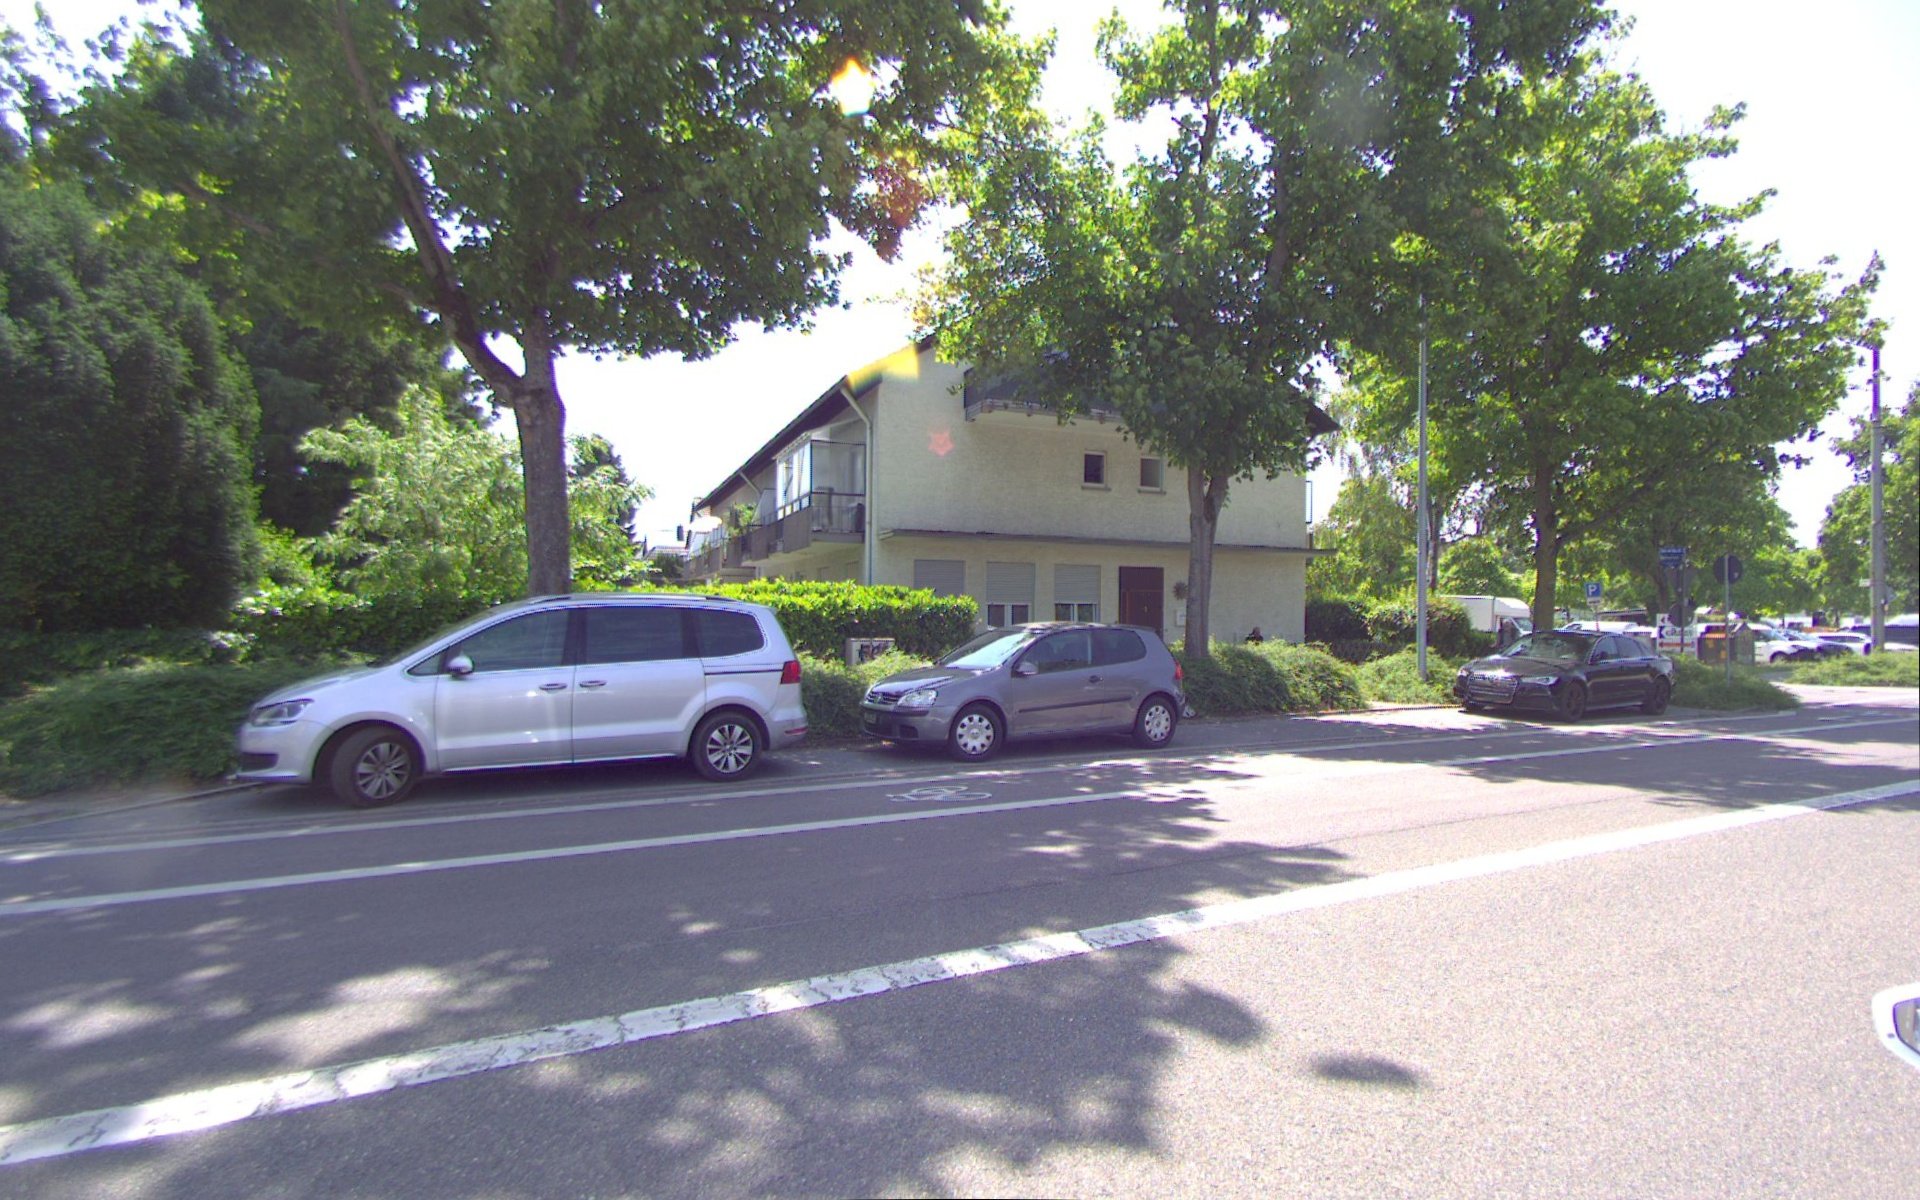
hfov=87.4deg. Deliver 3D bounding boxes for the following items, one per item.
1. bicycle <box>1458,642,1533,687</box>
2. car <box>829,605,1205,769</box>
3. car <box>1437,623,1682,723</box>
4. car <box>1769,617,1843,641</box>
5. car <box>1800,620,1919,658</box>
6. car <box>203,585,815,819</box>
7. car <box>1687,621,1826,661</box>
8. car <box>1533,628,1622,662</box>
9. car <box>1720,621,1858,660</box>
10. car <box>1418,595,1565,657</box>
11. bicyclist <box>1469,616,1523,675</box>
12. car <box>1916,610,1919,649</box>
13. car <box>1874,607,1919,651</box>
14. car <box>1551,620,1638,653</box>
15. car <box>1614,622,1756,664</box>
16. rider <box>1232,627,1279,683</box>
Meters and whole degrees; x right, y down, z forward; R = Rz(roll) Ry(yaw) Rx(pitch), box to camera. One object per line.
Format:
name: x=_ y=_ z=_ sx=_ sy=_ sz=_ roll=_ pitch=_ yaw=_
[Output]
bicycle: x=13.260 y=1.596 z=24.854 sx=1.805 sy=1.043 sz=0.698 roll=2 pitch=1 yaw=-27
car: x=0.722 y=0.907 z=11.859 sx=4.132 sy=1.585 sz=1.809 roll=1 pitch=1 yaw=-31
car: x=10.626 y=1.204 z=17.736 sx=4.397 sy=1.496 sz=1.809 roll=1 pitch=1 yaw=-31
car: x=66.405 y=2.288 z=78.891 sx=1.795 sy=1.638 sz=4.000 roll=2 pitch=1 yaw=-30
car: x=43.235 y=1.836 z=48.314 sx=1.975 sy=1.769 sz=3.968 roll=1 pitch=-1 yaw=-30
car: x=-3.893 y=0.761 z=9.275 sx=4.725 sy=1.687 sz=1.863 roll=1 pitch=0 yaw=-31
car: x=33.931 y=1.711 z=42.932 sx=1.886 sy=1.606 sz=4.332 roll=1 pitch=-1 yaw=-24
car: x=35.598 y=2.571 z=57.953 sx=1.799 sy=1.675 sz=3.957 roll=2 pitch=1 yaw=-37
car: x=36.413 y=1.759 z=44.251 sx=1.886 sy=1.606 sz=4.333 roll=1 pitch=-1 yaw=-23
car: x=28.828 y=1.322 z=54.824 sx=2.337 sy=3.005 sz=6.816 roll=2 pitch=1 yaw=-30
bicyclist: x=13.252 y=1.122 z=24.837 sx=0.817 sy=1.392 sz=0.806 roll=2 pitch=1 yaw=-27
car: x=58.928 y=1.836 z=57.871 sx=2.349 sy=2.274 sz=5.076 roll=2 pitch=1 yaw=-28
car: x=52.281 y=1.650 z=53.302 sx=2.349 sy=2.274 sz=5.076 roll=2 pitch=1 yaw=-28
car: x=37.499 y=2.142 z=59.461 sx=1.799 sy=1.675 sz=3.957 roll=2 pitch=1 yaw=-37
car: x=29.437 y=1.696 z=40.925 sx=1.891 sy=1.606 sz=4.321 roll=1 pitch=-1 yaw=-31
rider: x=7.434 y=1.374 z=25.298 sx=0.800 sy=1.392 sz=0.824 roll=1 pitch=-1 yaw=-22
